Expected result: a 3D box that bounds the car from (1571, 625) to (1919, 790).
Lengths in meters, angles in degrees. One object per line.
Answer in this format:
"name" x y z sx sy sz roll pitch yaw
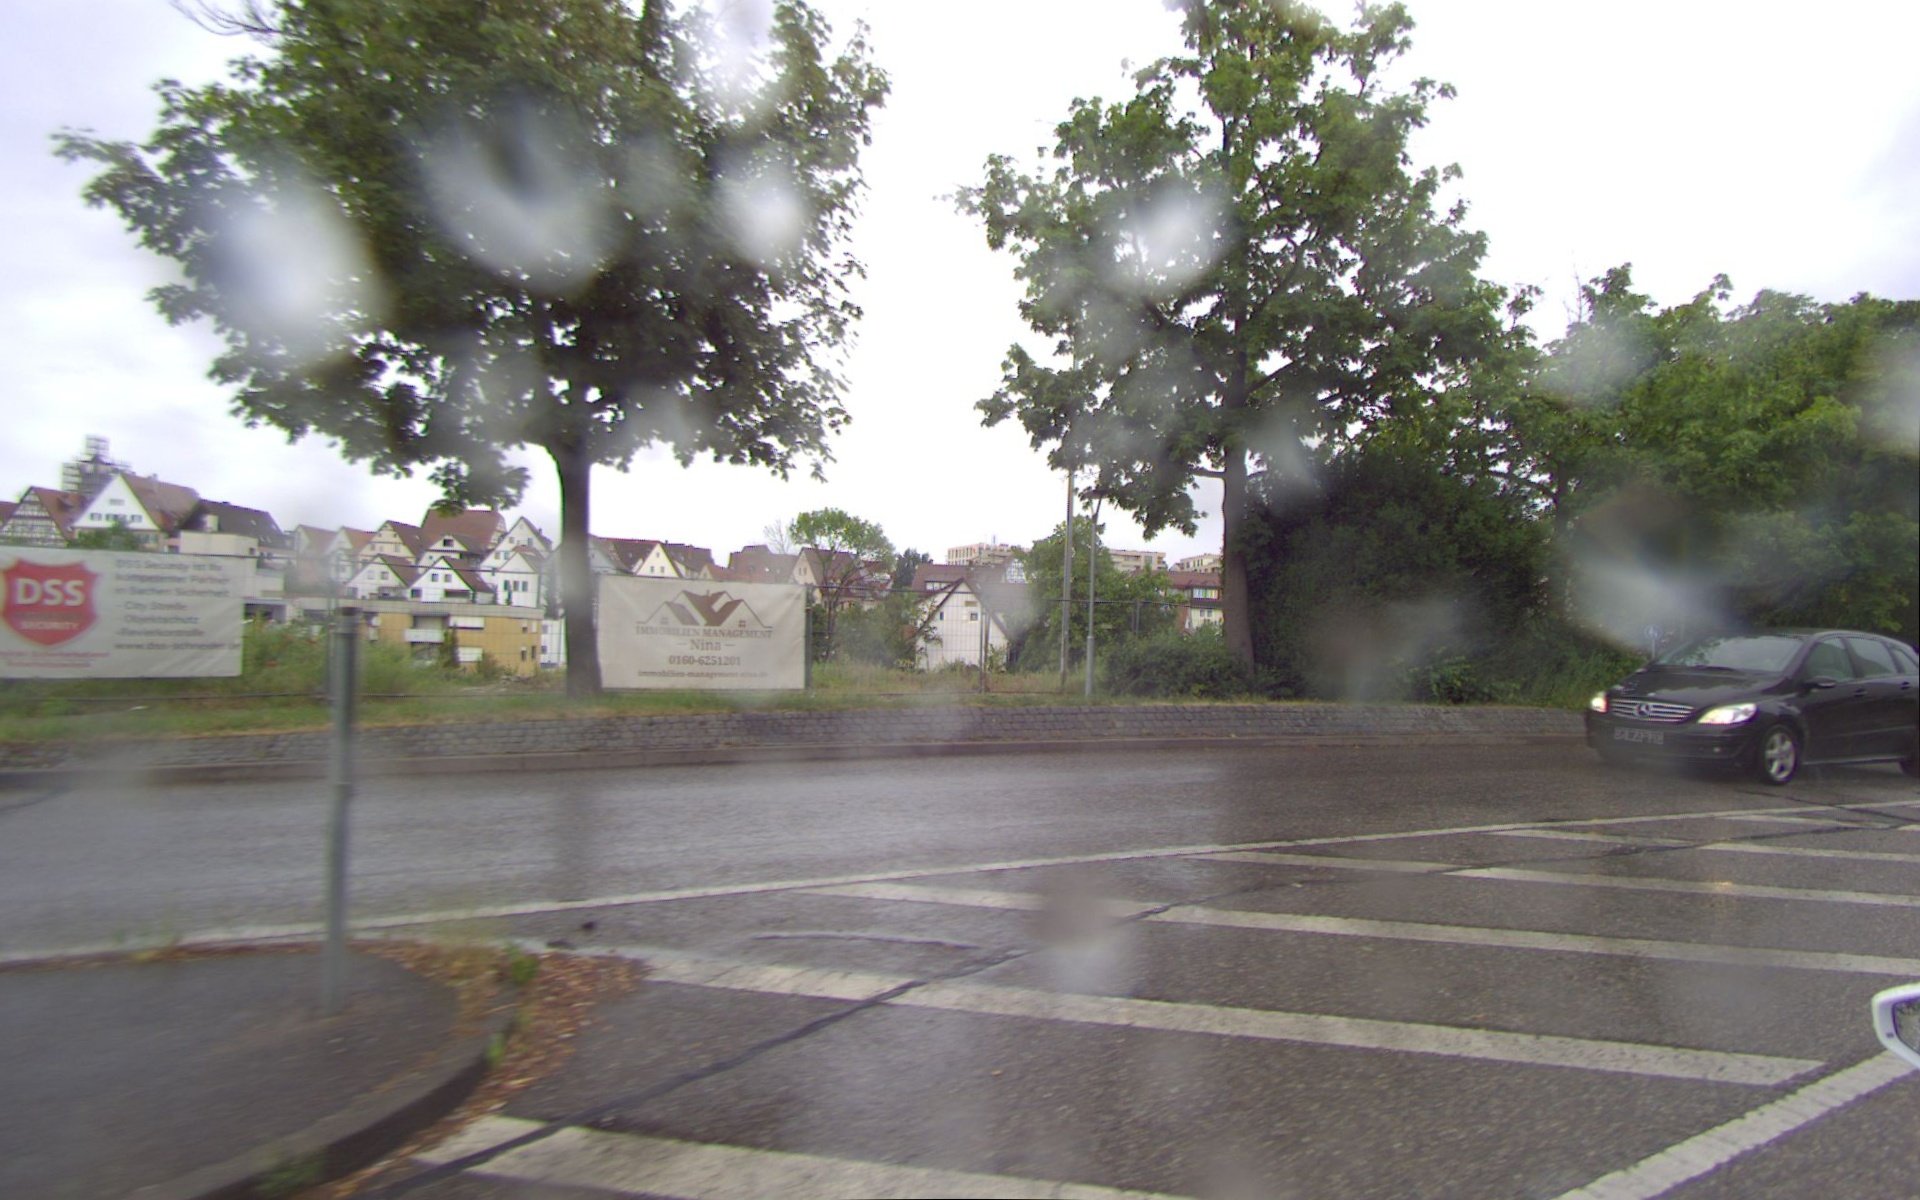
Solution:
"car" 8.909 1.101 11.092 4.012 1.541 1.637 2 -1 -22
